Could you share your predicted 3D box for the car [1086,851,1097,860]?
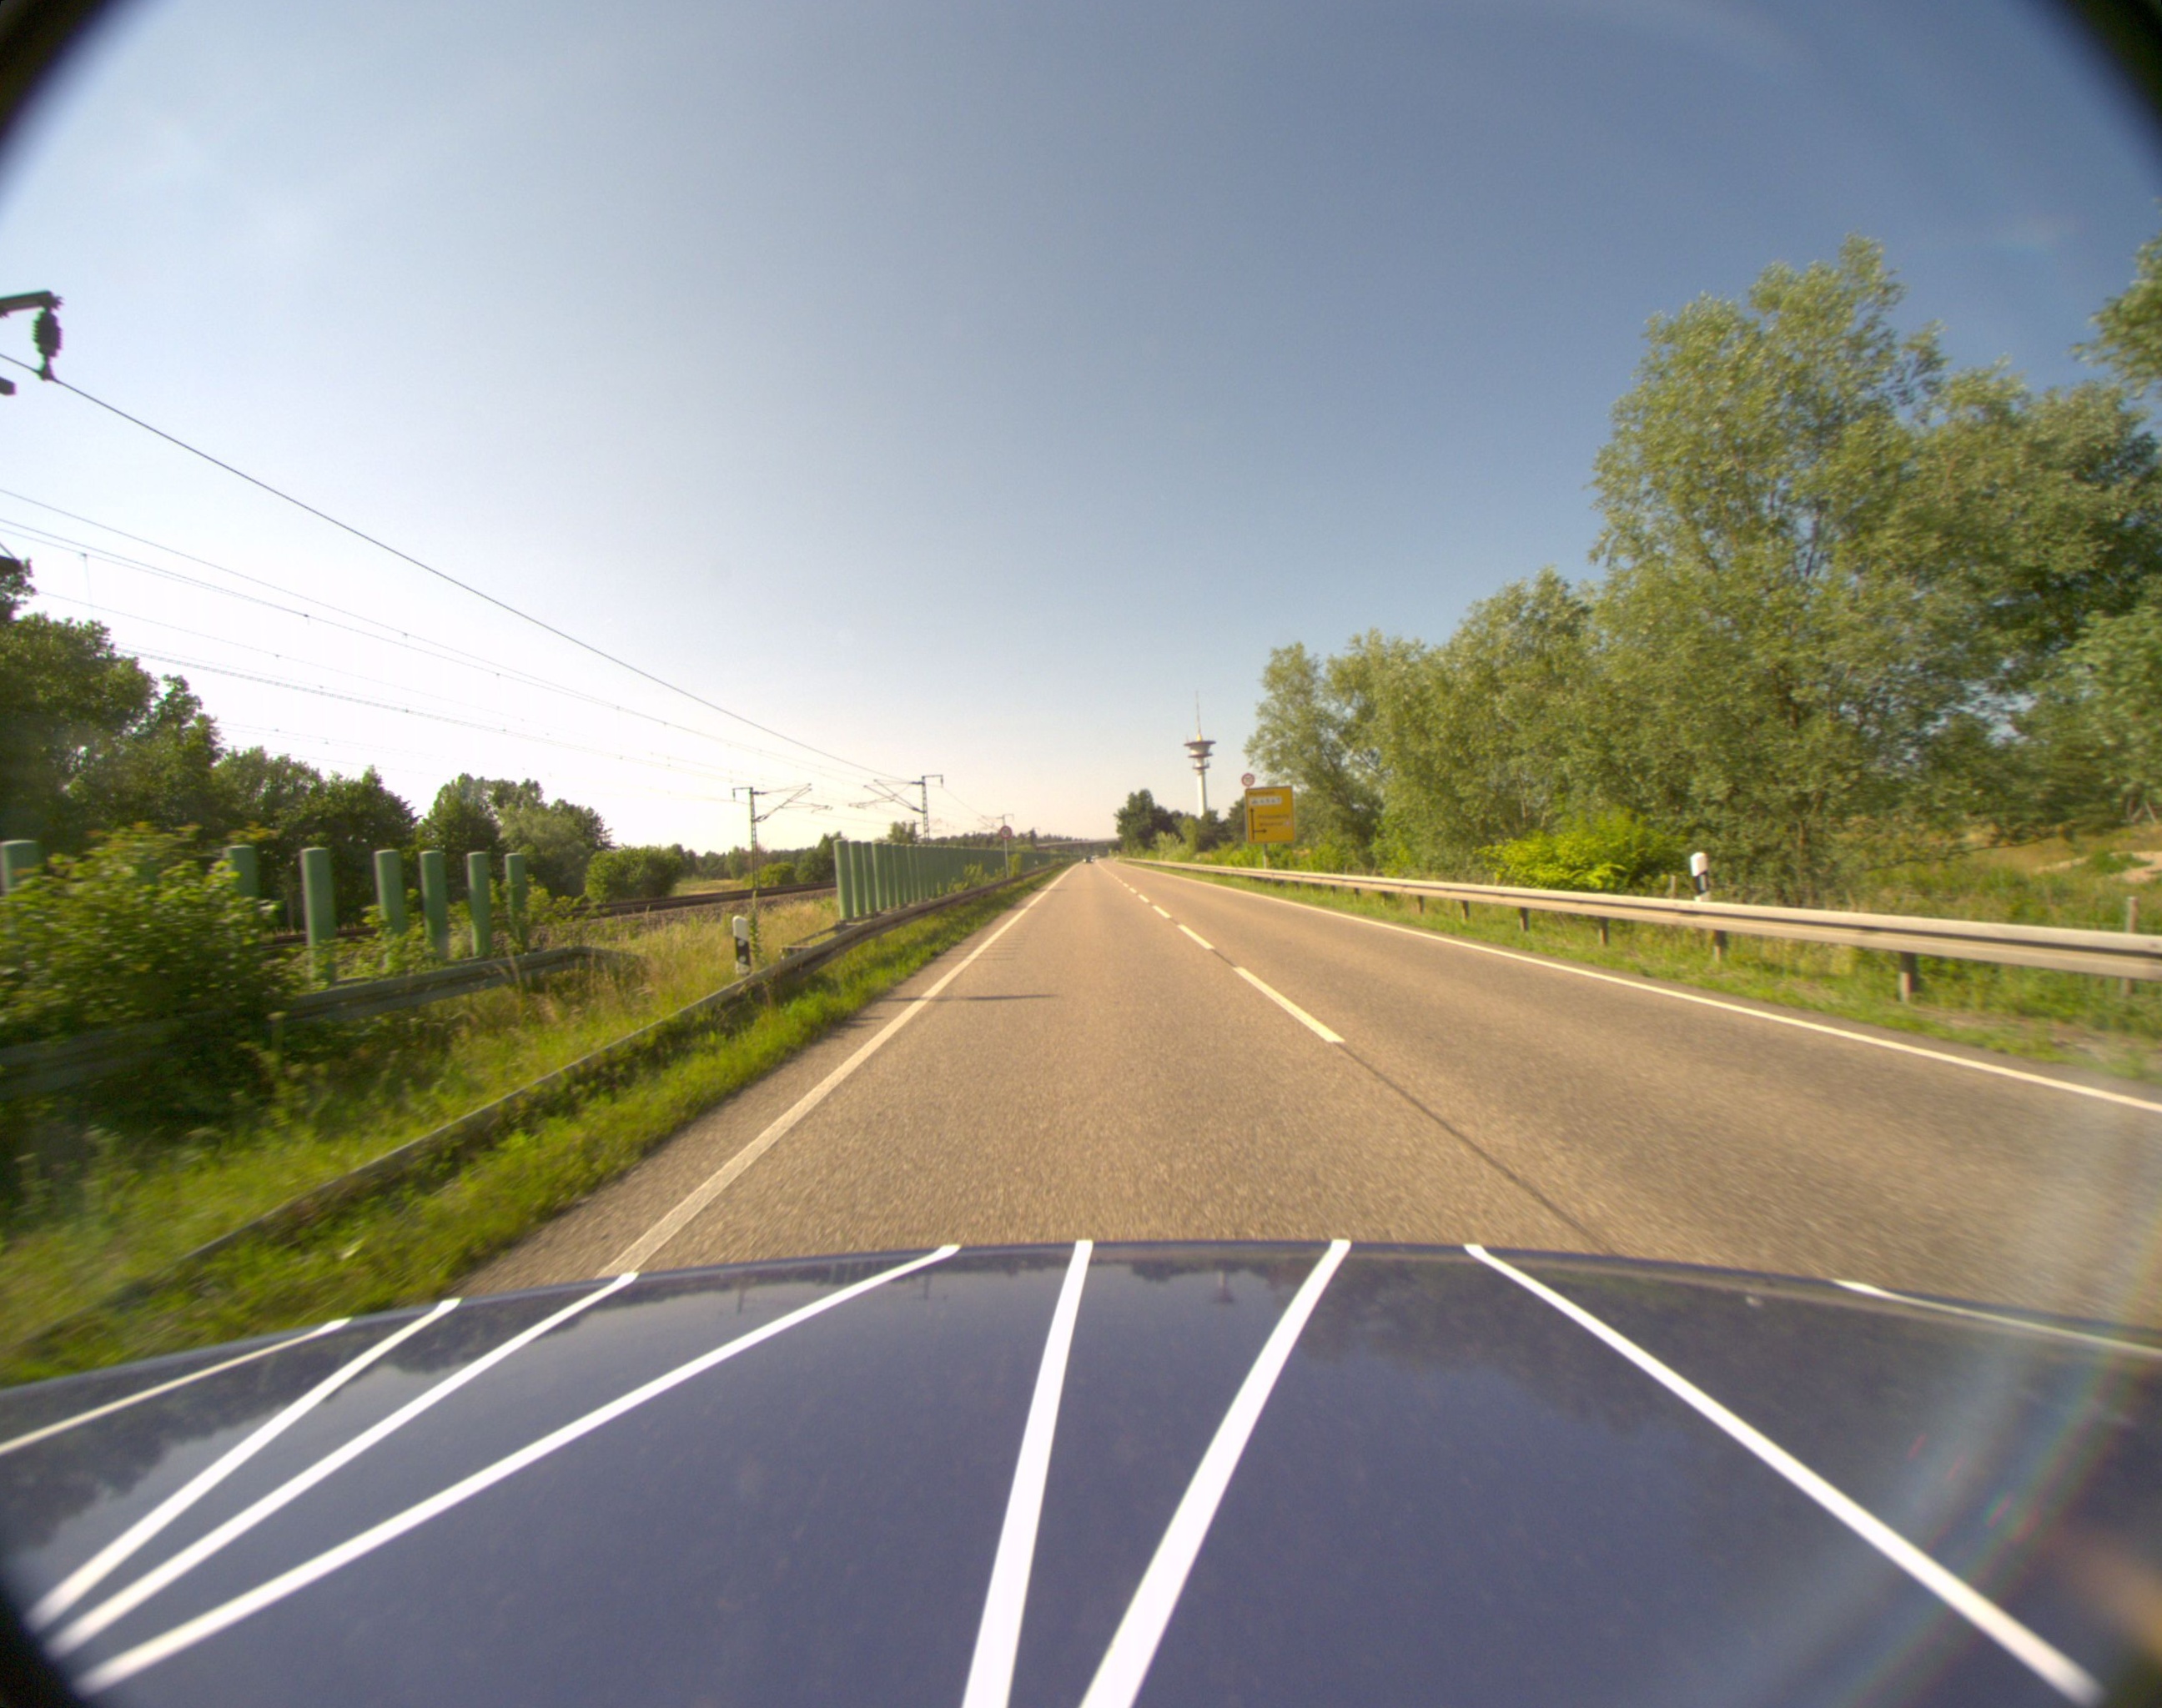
[{"bbox_3d":[2.069,0.292,143.213,1.868,1.533,4.076,-1,0,3],"label":"car"}]
